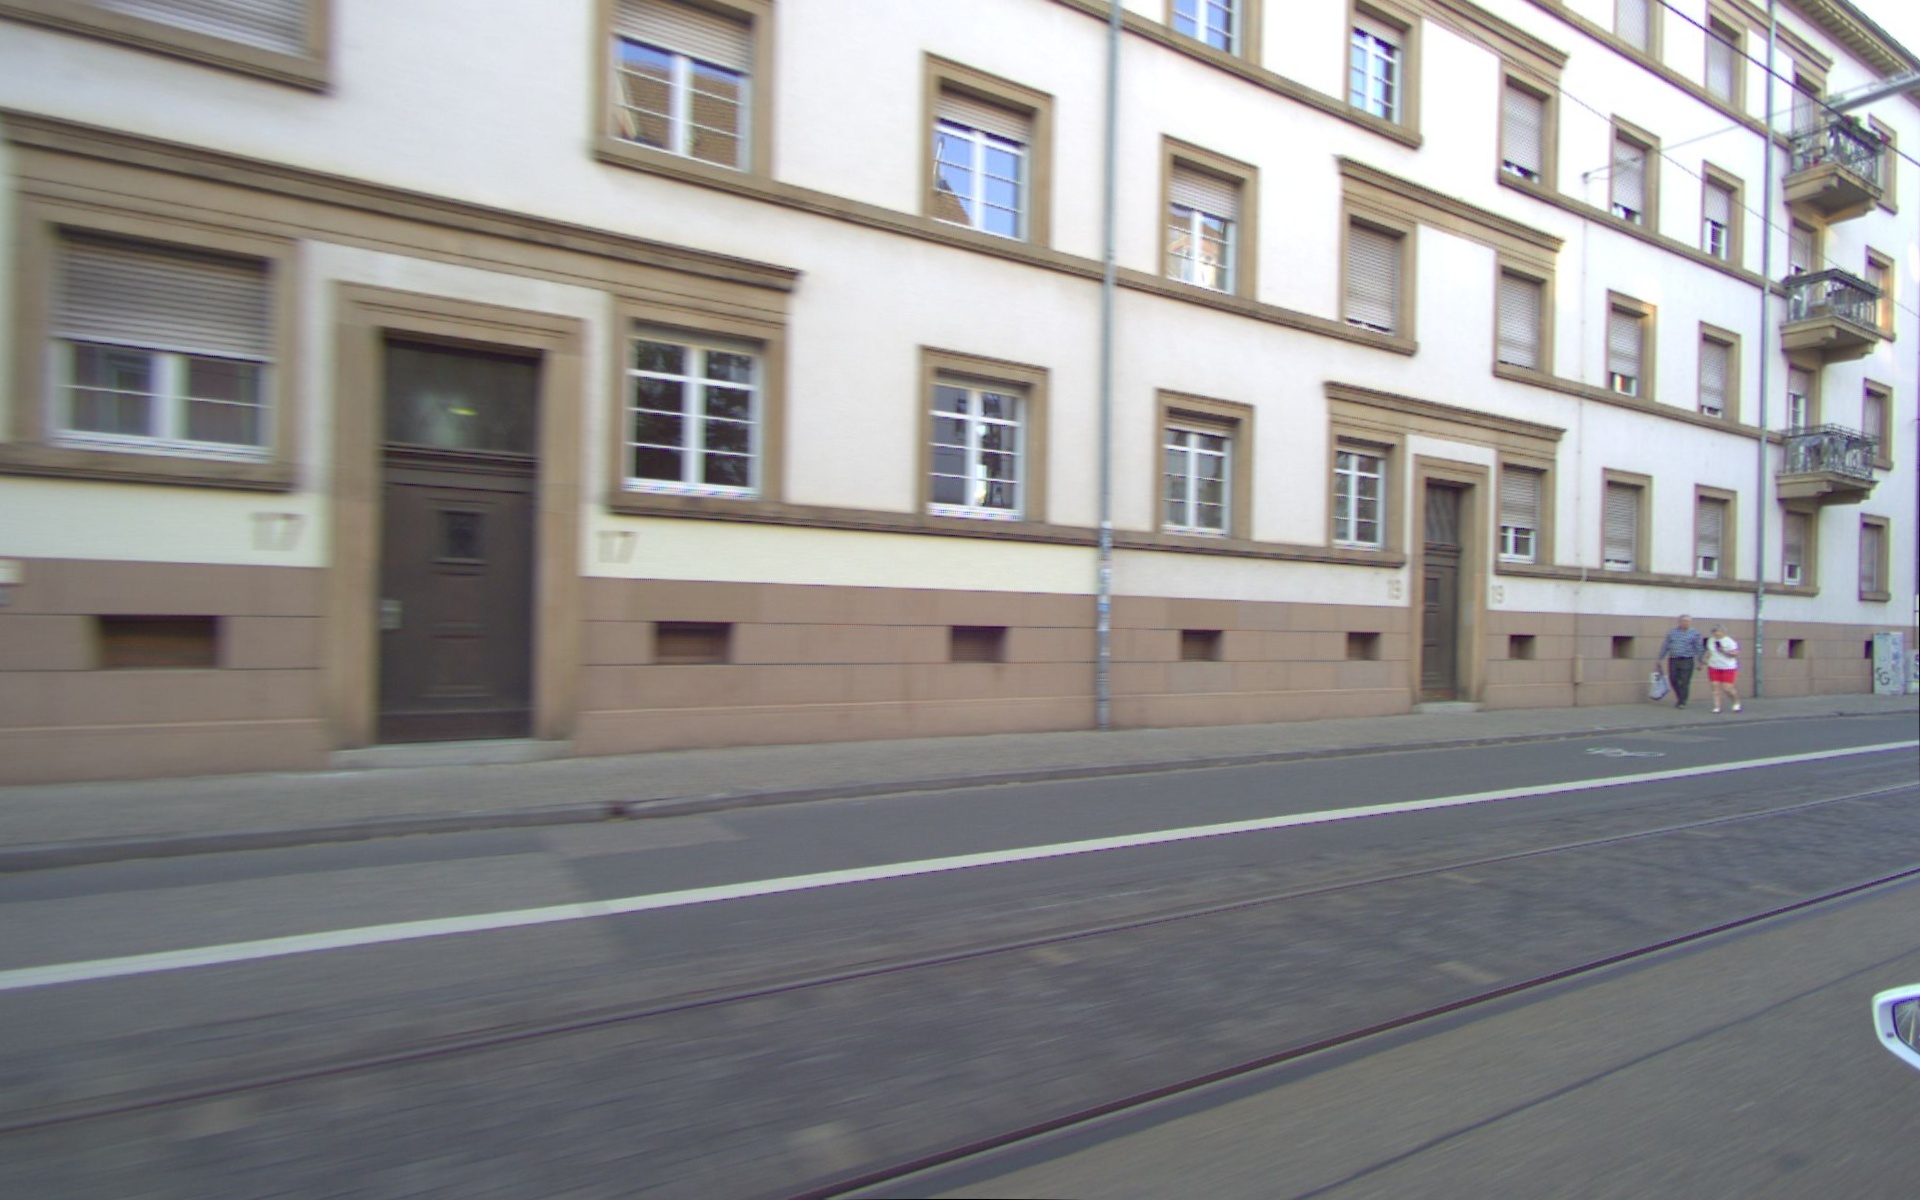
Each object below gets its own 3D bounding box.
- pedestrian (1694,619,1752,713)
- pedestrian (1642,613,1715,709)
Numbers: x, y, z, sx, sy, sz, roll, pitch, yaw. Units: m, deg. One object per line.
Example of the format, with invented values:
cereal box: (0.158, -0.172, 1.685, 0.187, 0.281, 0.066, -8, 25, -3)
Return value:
pedestrian: (13.684, 1.174, 18.018, 0.802, 1.631, 0.587, 1, -1, -32)
pedestrian: (13.328, 1.113, 18.627, 0.971, 1.724, 0.791, 1, -1, -32)
